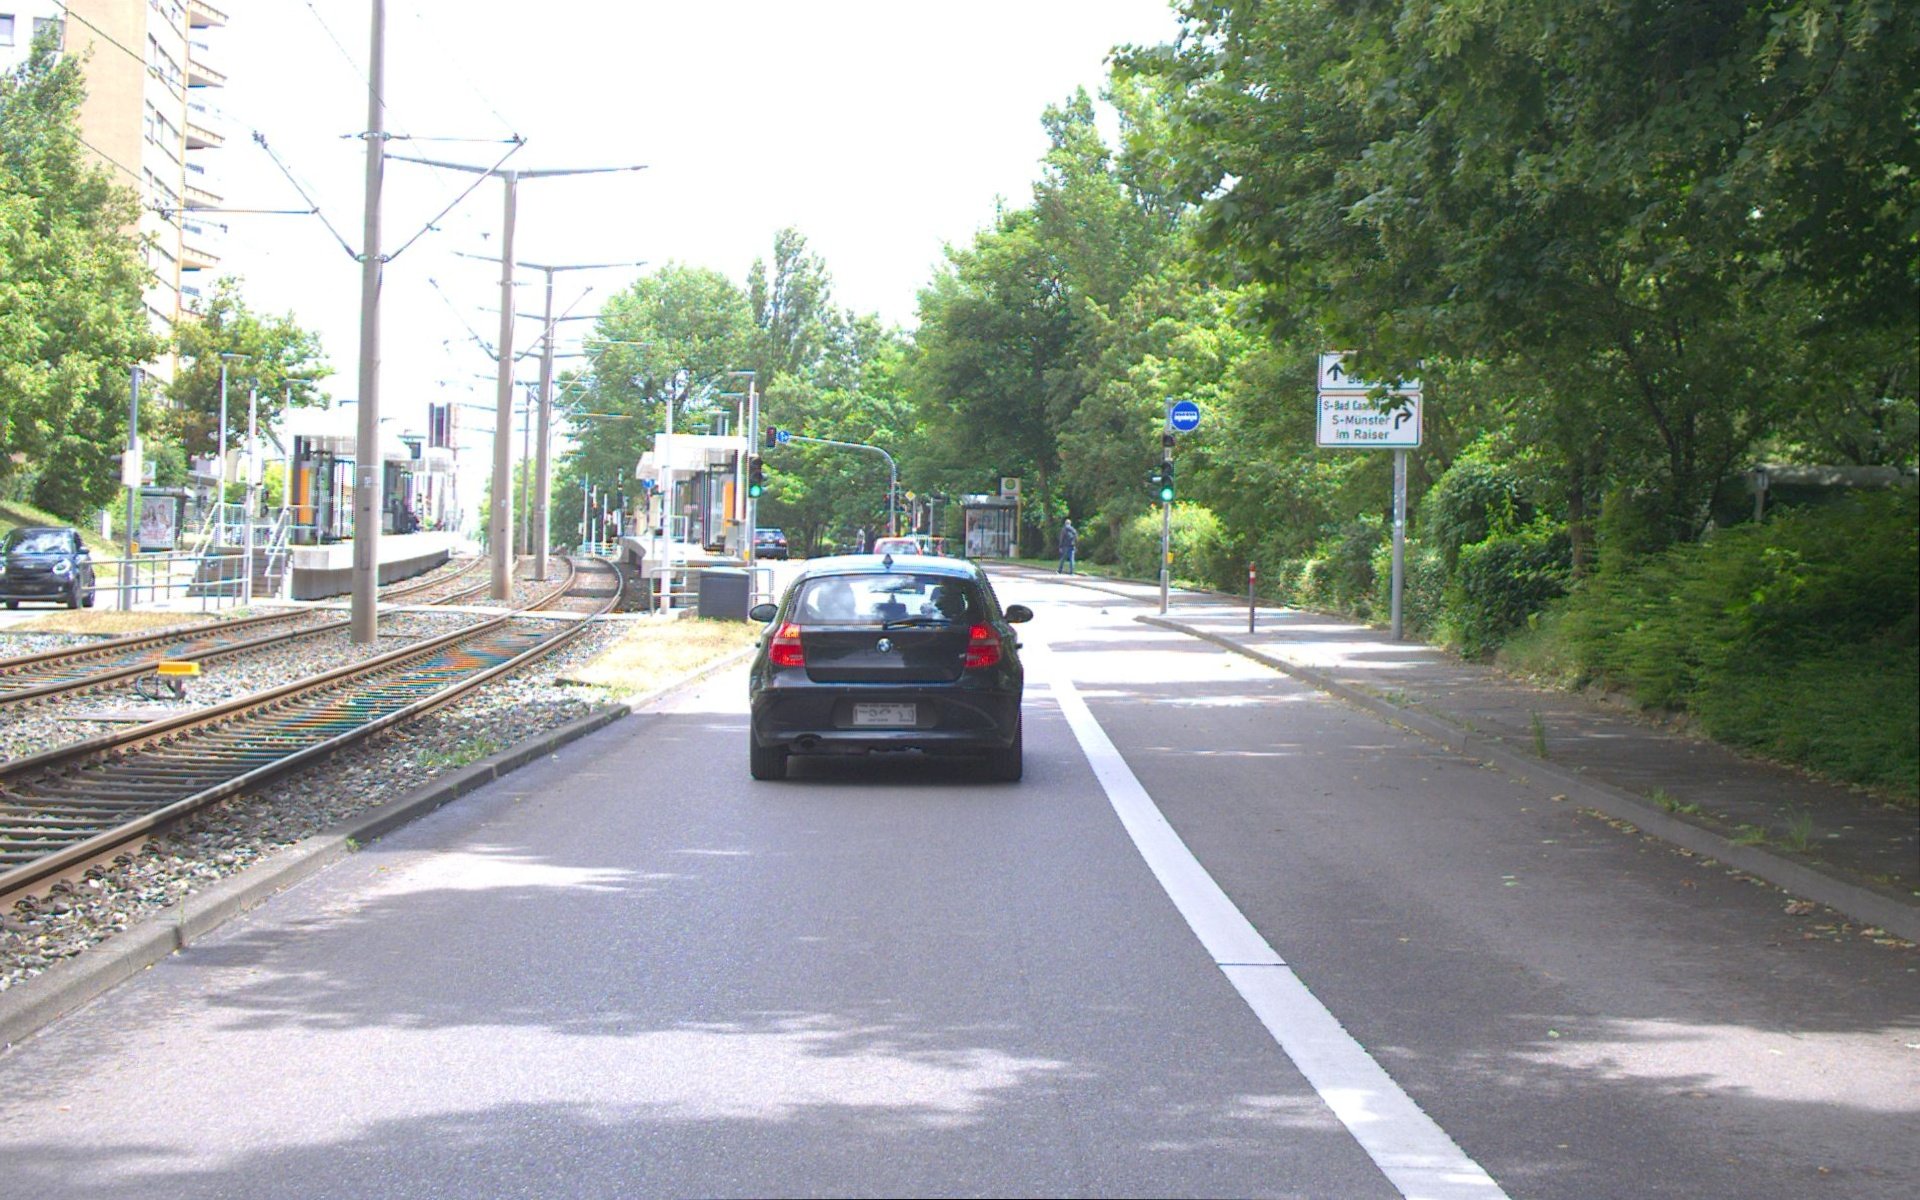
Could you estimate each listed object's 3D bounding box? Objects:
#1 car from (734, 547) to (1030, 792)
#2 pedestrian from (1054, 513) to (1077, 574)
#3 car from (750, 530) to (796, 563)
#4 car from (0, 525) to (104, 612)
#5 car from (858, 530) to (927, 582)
[{"bbox_3d":[-0.554,0.389,22.705,1.781,1.454,3.921,0,1,-2],"label":"car"},{"bbox_3d":[3.522,-1.886,114.765,0.740,2.007,0.681,1,1,0],"label":"pedestrian"},{"bbox_3d":[-8.559,-2.446,157.249,1.909,1.454,4.003,1,1,-6],"label":"car"},{"bbox_3d":[-17.255,-0.613,64.519,1.715,1.559,3.698,1,1,-4],"label":"car"},{"bbox_3d":[-1.974,-1.288,99.393,1.781,1.454,3.922,1,1,-4],"label":"car"}]
